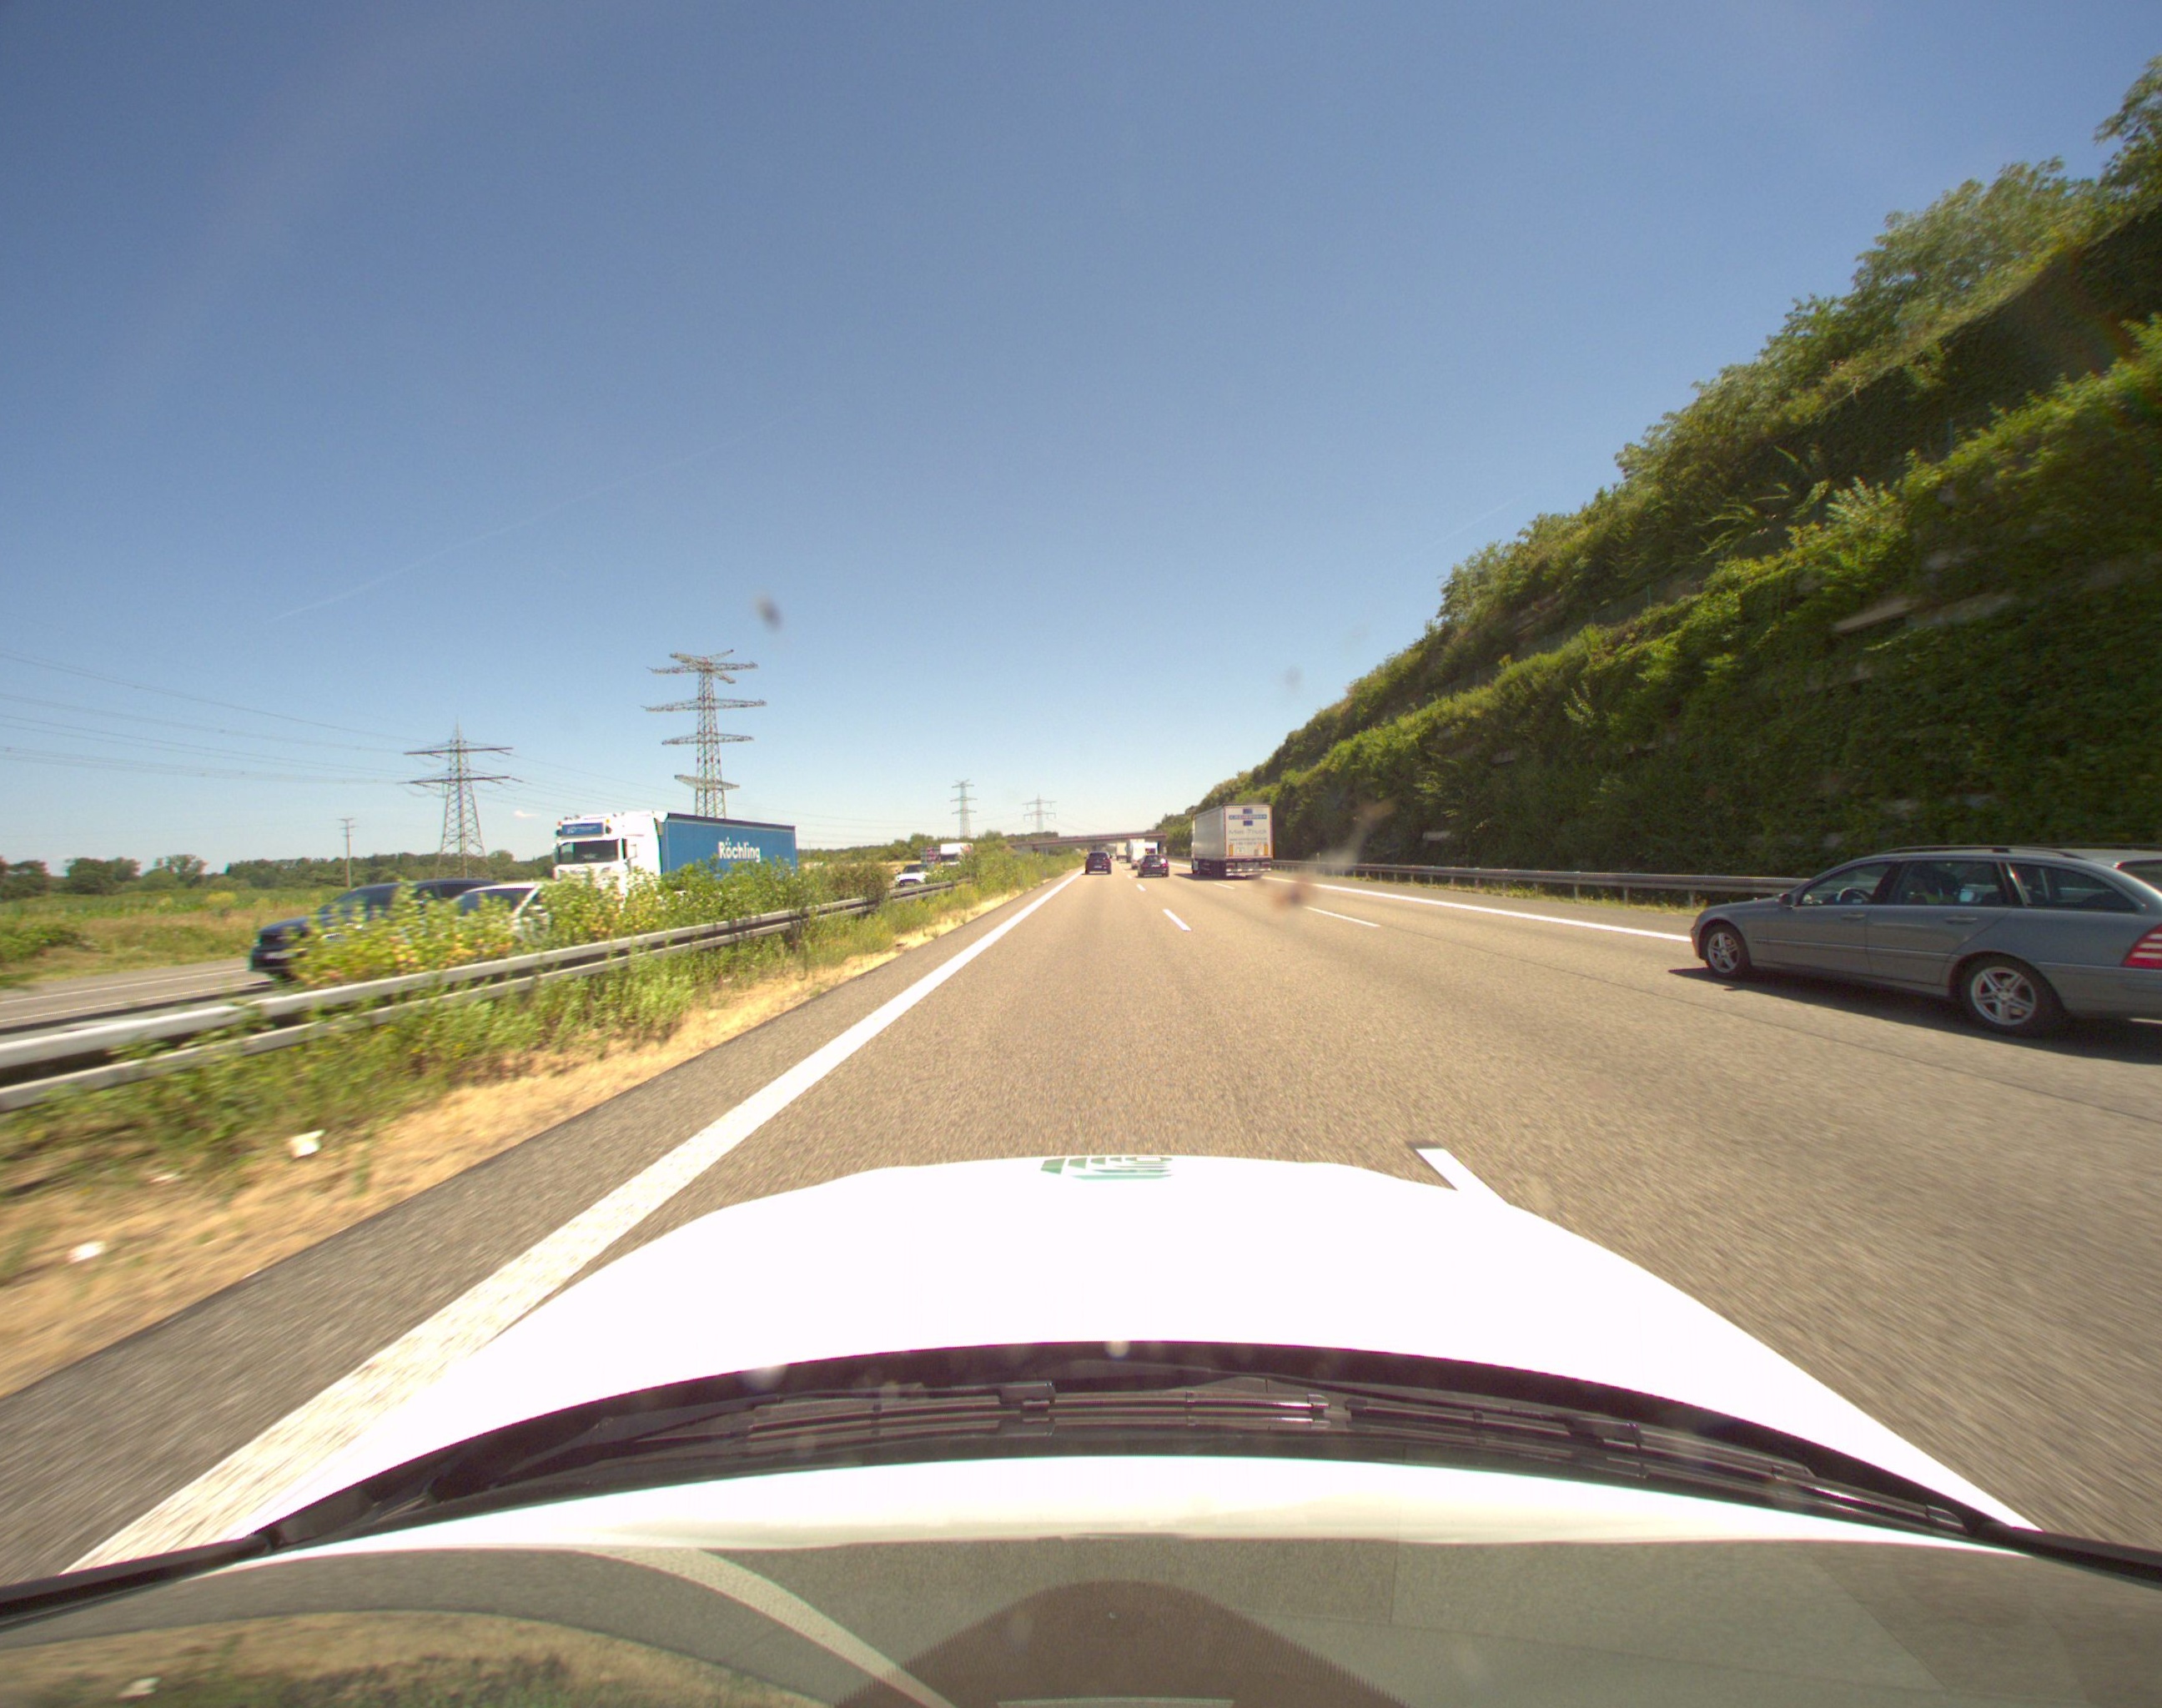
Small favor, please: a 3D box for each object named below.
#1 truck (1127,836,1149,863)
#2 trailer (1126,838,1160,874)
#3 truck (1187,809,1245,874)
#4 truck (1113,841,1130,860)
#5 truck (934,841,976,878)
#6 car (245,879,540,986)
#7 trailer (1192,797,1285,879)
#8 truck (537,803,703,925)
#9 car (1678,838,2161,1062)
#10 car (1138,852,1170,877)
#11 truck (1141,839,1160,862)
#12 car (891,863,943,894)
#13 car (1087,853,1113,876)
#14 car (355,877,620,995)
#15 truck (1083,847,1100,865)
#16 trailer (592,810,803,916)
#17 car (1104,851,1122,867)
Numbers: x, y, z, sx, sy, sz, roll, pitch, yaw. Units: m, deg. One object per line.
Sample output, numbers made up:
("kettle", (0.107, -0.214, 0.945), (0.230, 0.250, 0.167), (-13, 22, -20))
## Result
("truck", (9.519, -0.684, 136.829), (3.107, 4.280, 11.937), (-2, 0, 2))
("trailer", (5.992, 0.203, 79.625), (2.602, 3.213, 9.953), (-2, 0, 1))
("truck", (9.294, -0.820, 56.560), (3.124, 4.141, 5.505), (-2, 0, 1))
("truck", (9.226, -0.782, 186.582), (3.397, 4.280, 10.610), (-2, 0, 2))
("truck", (-14.903, 0.617, 97.345), (2.863, 4.176, 10.573), (-2, 0, 2))
("car", (-13.441, 1.438, 16.389), (1.745, 1.632, 4.613), (-2, 0, 4))
("trailer", (9.141, -0.844, 49.246), (3.171, 4.121, 13.435), (-2, 0, 1))
("truck", (-17.119, 0.352, 30.772), (2.686, 4.068, 5.803), (-2, 0, 1))
("car", (7.821, 0.607, 7.318), (1.679, 1.428, 4.453), (-1, 0, 1))
("car", (4.687, 0.646, 52.600), (1.823, 1.525, 4.002), (-2, 0, 2))
("truck", (13.884, -0.648, 163.993), (3.107, 4.280, 10.170), (-2, 0, 2))
("car", (-8.496, 1.253, 42.528), (1.625, 1.399, 4.333), (-3, 0, 2))
("car", (1.421, 0.768, 62.045), (1.823, 1.670, 4.001), (-2, 0, 1))
("car", (-9.354, 1.204, 13.245), (1.465, 1.491, 3.684), (-2, 0, 2))
("truck", (2.598, 0.427, 198.289), (3.948, 4.113, 9.953), (-2, 0, 1))
("trailer", (-16.932, 0.335, 37.860), (2.683, 3.937, 13.914), (-2, 0, 2))
("car", (3.562, 0.553, 92.239), (1.824, 1.670, 3.999), (-2, 0, -1))
